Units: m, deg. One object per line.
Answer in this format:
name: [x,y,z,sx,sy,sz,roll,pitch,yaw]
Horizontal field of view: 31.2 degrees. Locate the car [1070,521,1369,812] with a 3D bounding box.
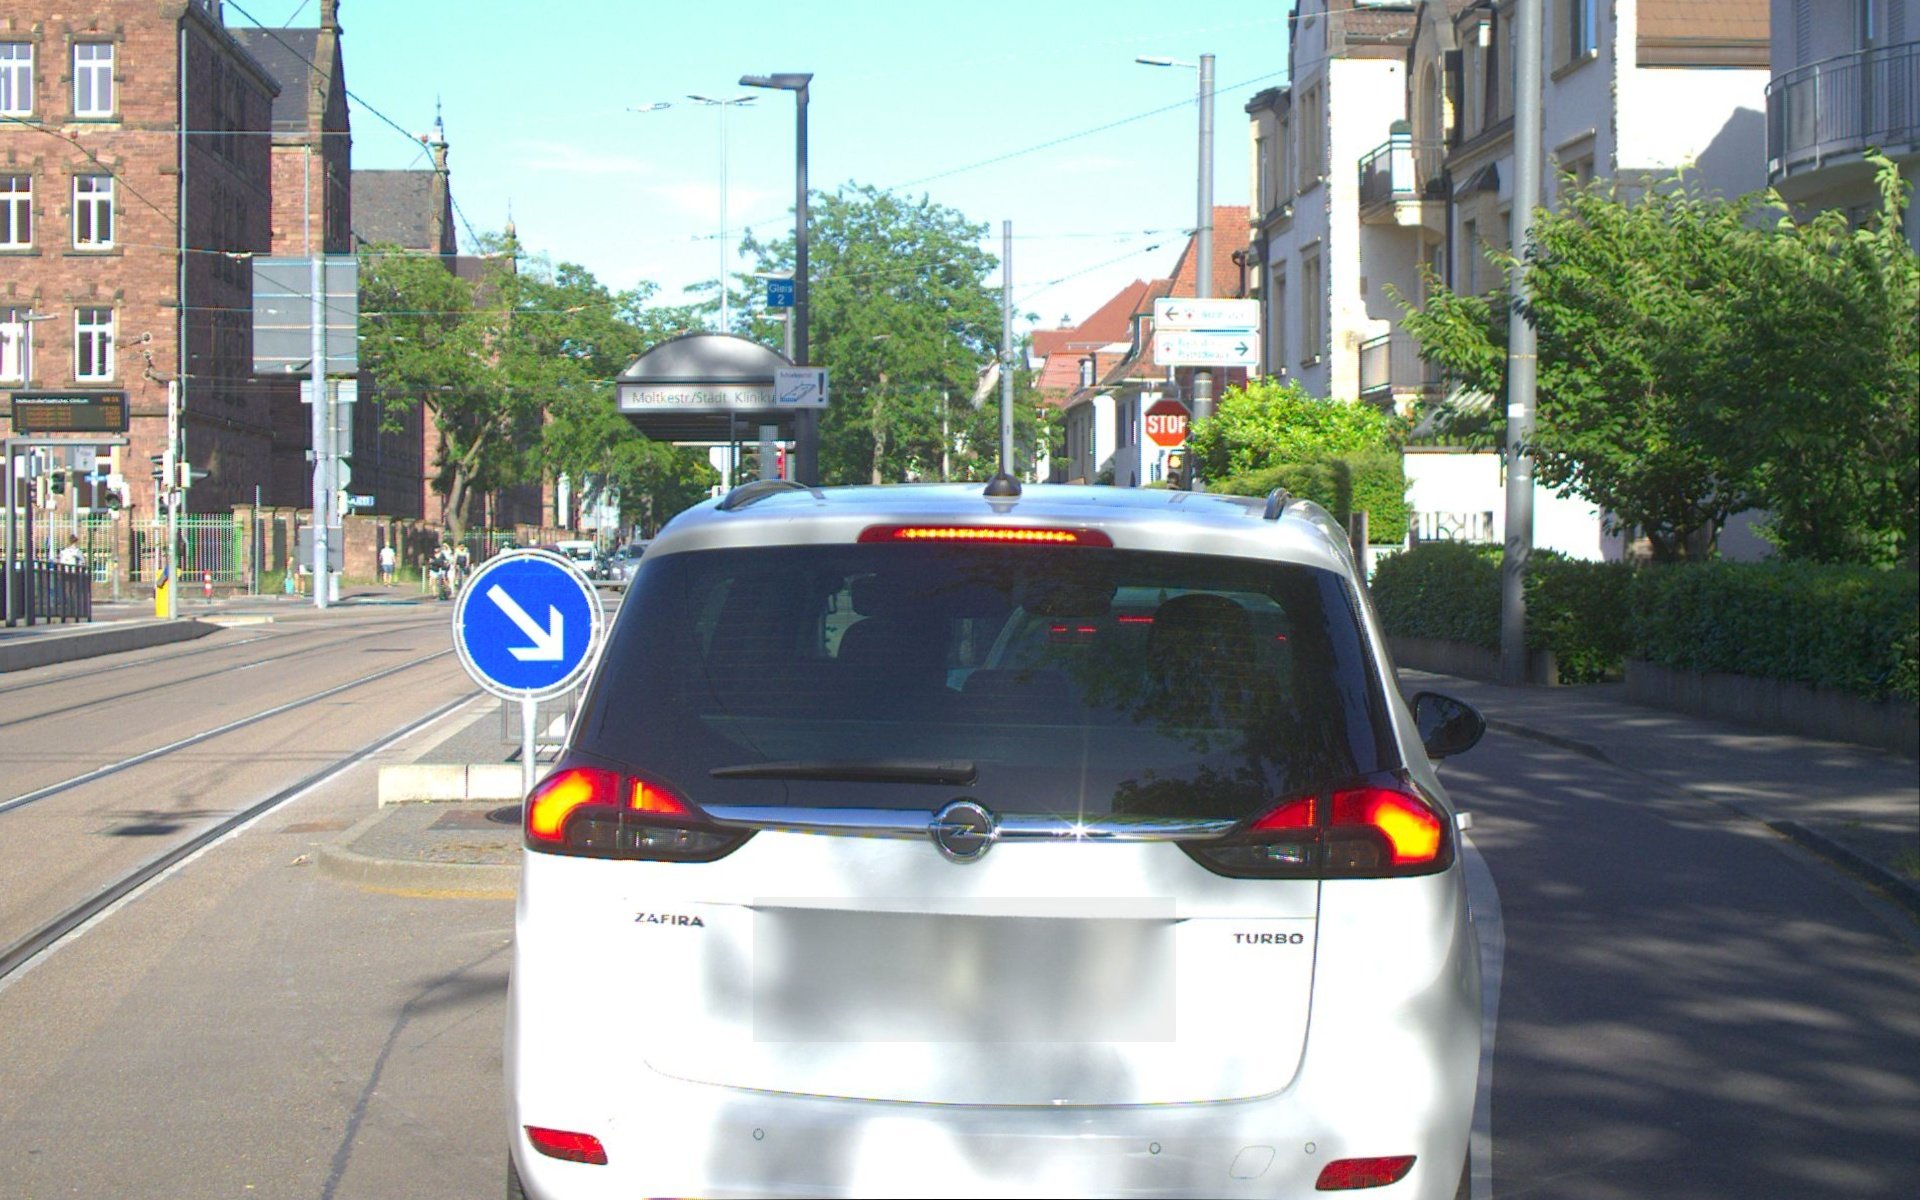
car: [1.487,0.332,20.836,1.637,1.595,3.854,0,1,2]

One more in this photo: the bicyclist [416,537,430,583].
bicyclist: [-17.981,-1.337,115.106,0.444,1.548,0.496,0,1,-4]

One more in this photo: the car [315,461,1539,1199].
car: [0.130,0.584,7.610,1.994,1.639,3.992,1,1,6]

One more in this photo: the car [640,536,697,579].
car: [-11.083,-1.618,130.770,1.993,1.623,4.001,0,1,-2]

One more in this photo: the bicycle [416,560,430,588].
bicycle: [-17.986,-0.872,115.149,0.344,0.946,0.997,1,0,-4]

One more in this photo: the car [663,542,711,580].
car: [-11.749,-1.692,147.816,1.993,1.623,3.989,0,1,-5]

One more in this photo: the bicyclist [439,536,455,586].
bicyclist: [-15.892,-1.222,106.575,0.444,1.548,0.496,0,1,-4]

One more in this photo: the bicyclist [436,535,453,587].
bicyclist: [-15.474,-1.184,103.293,0.444,1.548,0.743,0,1,-4]

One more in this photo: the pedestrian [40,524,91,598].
pedestrian: [-20.493,-0.901,78.775,0.895,1.678,1.029,1,0,-1]

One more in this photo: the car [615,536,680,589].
car: [-9.736,-1.189,107.319,1.993,1.623,4.001,0,1,-5]

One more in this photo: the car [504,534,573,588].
car: [-13.116,-1.226,107.096,1.993,1.623,4.001,0,1,-5]

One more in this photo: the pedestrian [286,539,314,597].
pedestrian: [-19.374,-0.941,100.965,0.734,1.708,0.706,1,0,-5]

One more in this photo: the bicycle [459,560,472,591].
bicycle: [-15.697,-0.780,109.174,0.344,0.946,0.997,1,0,-4]

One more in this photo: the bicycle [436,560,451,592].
bicycle: [-15.483,-0.716,103.092,0.344,0.946,1.160,1,0,-4]

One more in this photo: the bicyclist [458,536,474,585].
bicyclist: [-15.688,-1.245,109.159,0.444,1.548,0.496,0,1,-4]

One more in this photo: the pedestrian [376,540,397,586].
pedestrian: [-21.519,-1.390,128.980,0.734,1.708,0.754,1,0,-6]

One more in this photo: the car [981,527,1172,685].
car: [1.171,0.026,36.188,1.830,1.574,4.010,0,1,-1]

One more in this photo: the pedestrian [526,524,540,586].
pedestrian: [-13.906,-1.478,111.966,0.444,2.007,0.496,0,1,-4]

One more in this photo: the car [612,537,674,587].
car: [-10.532,-1.272,114.426,1.993,1.623,4.001,0,1,-5]

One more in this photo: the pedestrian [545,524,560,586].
pedestrian: [-13.305,-1.473,112.259,0.444,2.007,0.496,0,1,-4]

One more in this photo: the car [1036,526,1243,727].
car: [1.488,0.179,29.264,1.637,1.595,3.854,0,1,2]

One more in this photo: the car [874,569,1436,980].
car: [0.738,0.590,13.991,1.953,1.392,4.000,0,1,2]

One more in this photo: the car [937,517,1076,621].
car: [0.663,-0.487,51.768,1.993,1.497,4.000,0,1,-1]

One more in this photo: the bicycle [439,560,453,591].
bicycle: [-15.929,-0.758,106.625,0.344,0.946,0.997,1,0,-4]
